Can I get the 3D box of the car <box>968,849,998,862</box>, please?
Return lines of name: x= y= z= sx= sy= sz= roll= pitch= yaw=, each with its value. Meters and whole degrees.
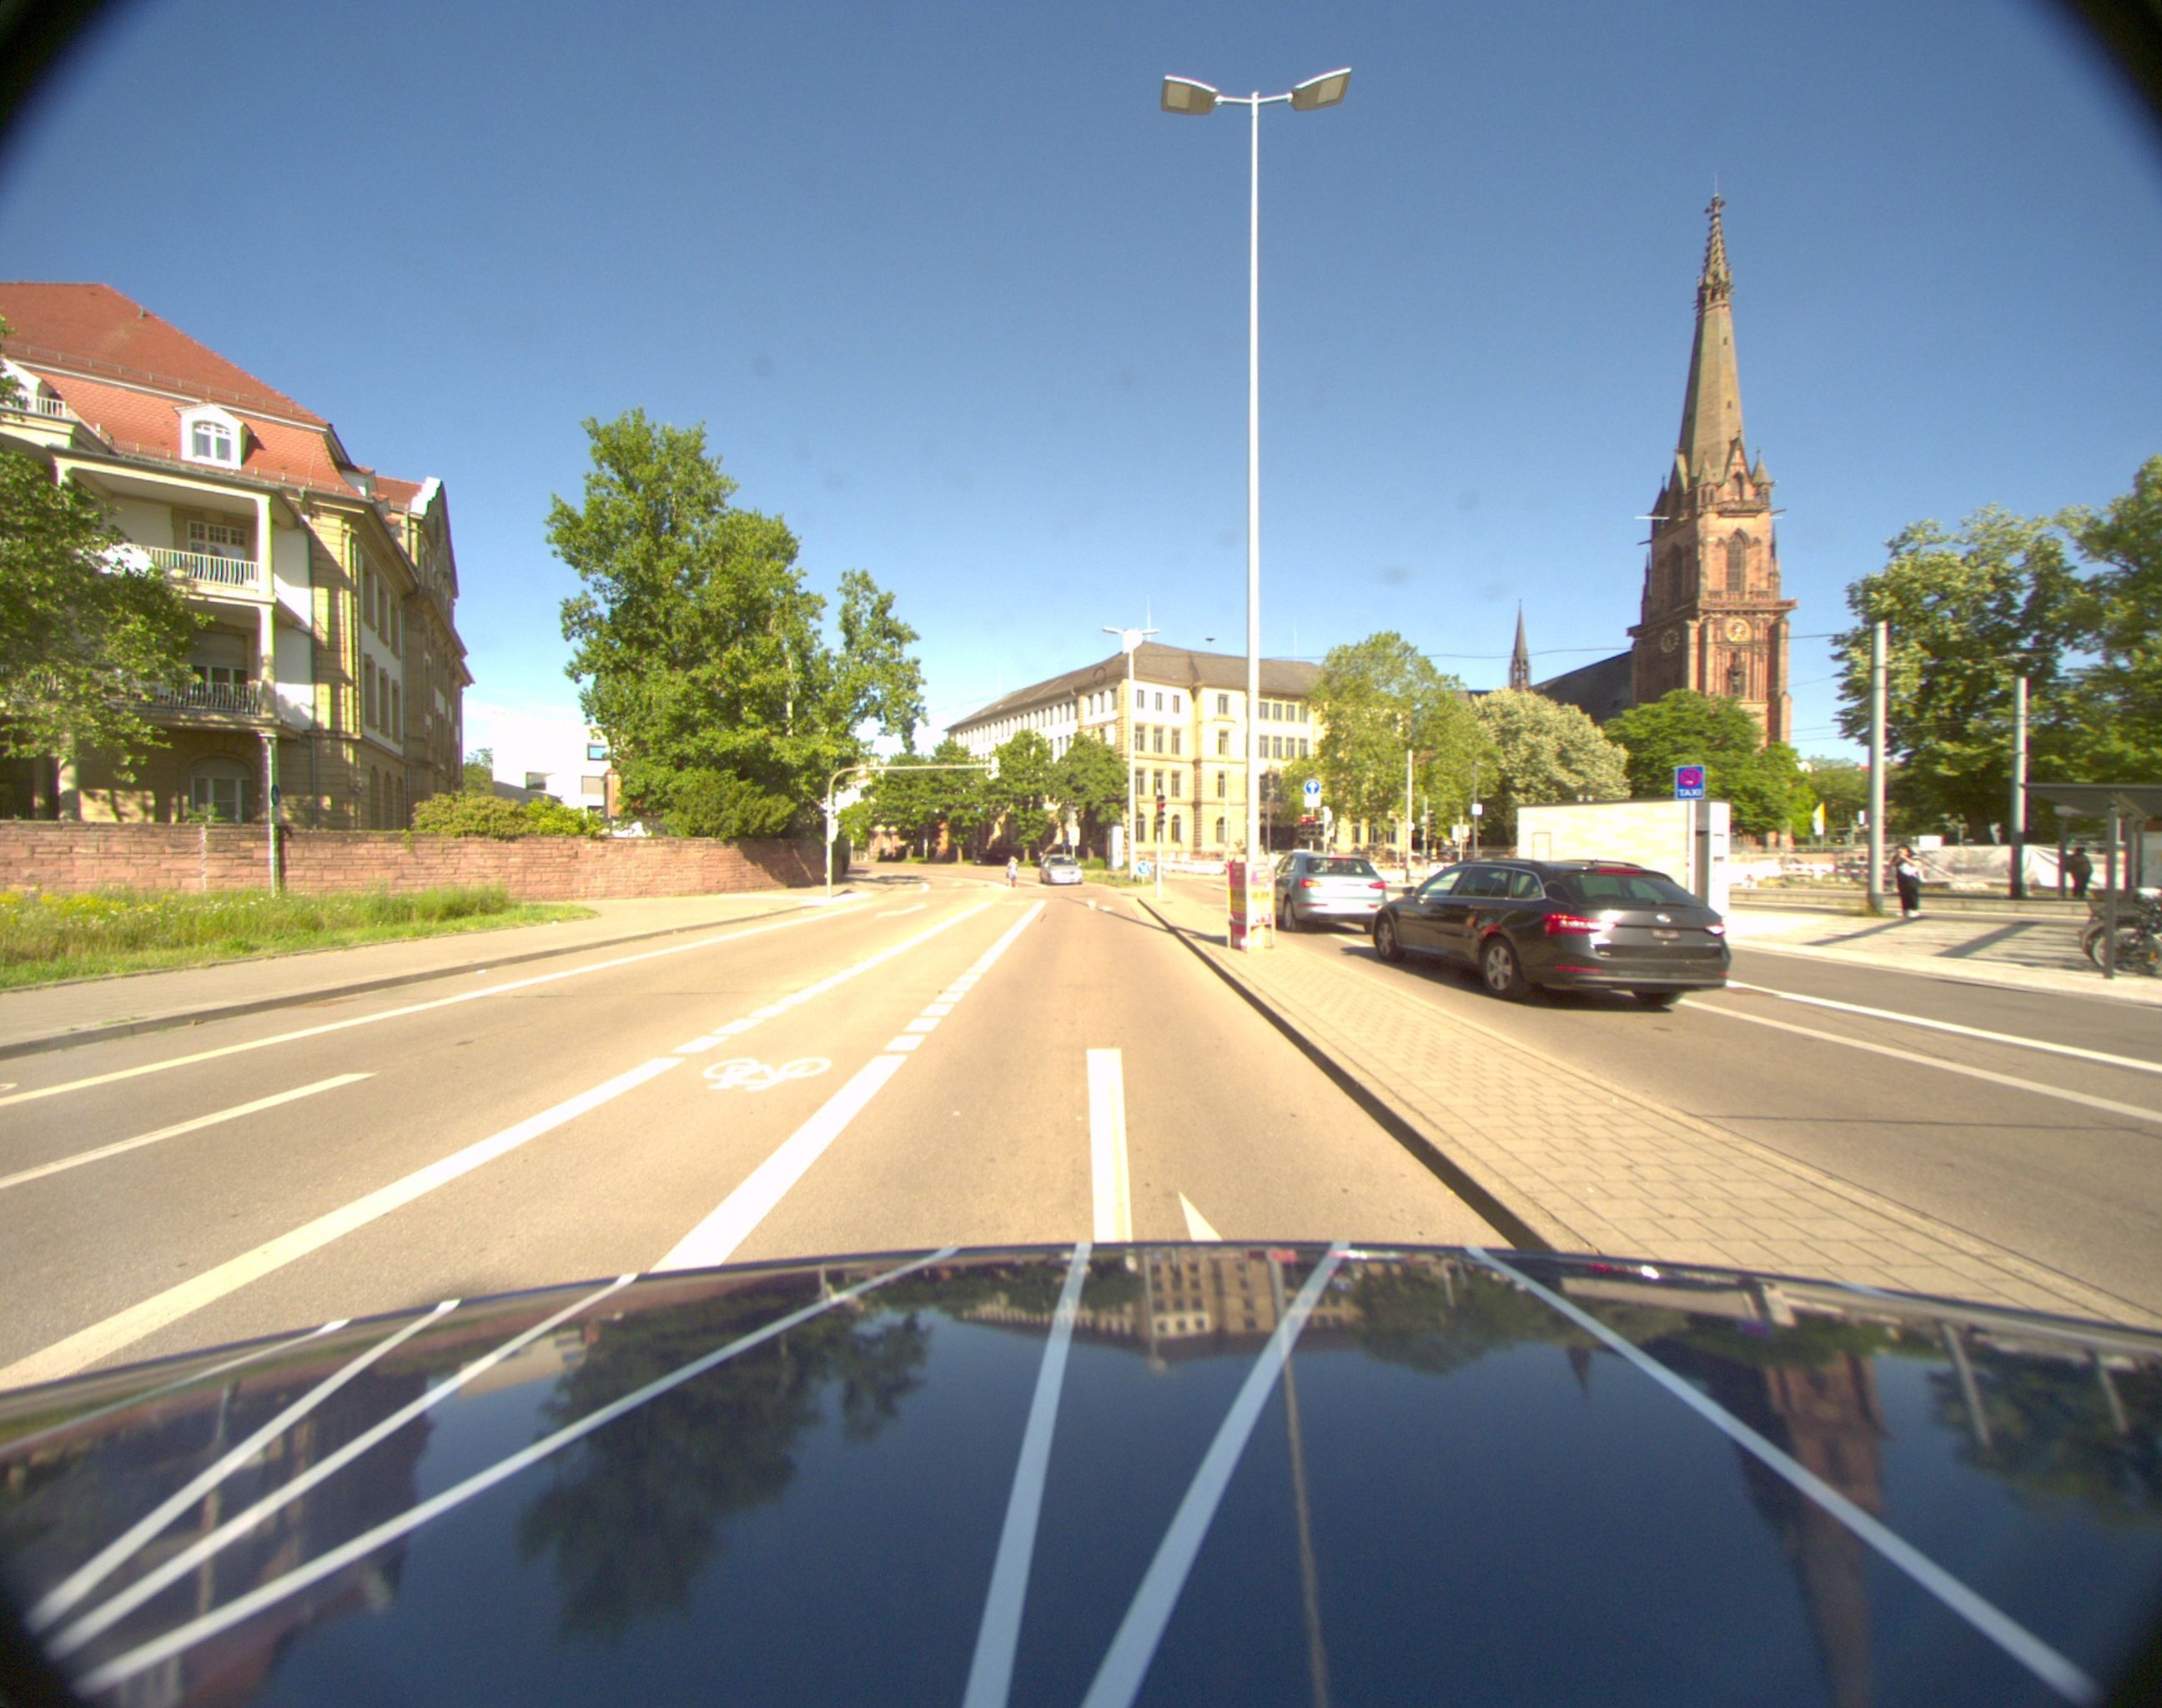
car: x=-11.725 y=0.142 z=90.596 sx=1.839 sy=1.587 sz=3.989 roll=-1 pitch=1 yaw=-37

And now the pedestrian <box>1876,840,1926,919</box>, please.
pedestrian: x=19.587 y=0.597 z=18.153 sx=0.703 sy=1.849 sz=0.619 roll=-1 pitch=1 yaw=-26

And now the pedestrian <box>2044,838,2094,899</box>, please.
pedestrian: x=30.623 y=0.447 z=23.554 sx=0.619 sy=1.849 sz=0.703 roll=0 pitch=1 yaw=11

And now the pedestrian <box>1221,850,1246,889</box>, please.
pedestrian: x=6.655 y=0.676 z=33.113 sx=0.932 sy=1.657 sz=0.630 roll=0 pitch=1 yaw=-5

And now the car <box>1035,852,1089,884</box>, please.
car: x=-1.107 y=0.718 z=41.463 sx=2.001 sy=1.580 sz=4.846 roll=-3 pitch=1 yaw=-13

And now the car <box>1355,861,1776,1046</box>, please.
car: x=5.064 y=0.883 z=8.973 sx=1.818 sy=1.496 sz=4.783 roll=2 pitch=0 yaw=-1

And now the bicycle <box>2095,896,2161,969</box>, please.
bicycle: x=16.126 y=1.183 z=10.999 sx=0.407 sy=0.993 sz=1.678 roll=-3 pitch=3 yaw=-33

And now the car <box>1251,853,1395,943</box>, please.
car: x=4.831 y=0.792 z=15.798 sx=1.792 sy=1.572 sz=4.258 roll=1 pitch=0 yaw=3

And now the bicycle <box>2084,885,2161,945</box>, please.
bicycle: x=19.026 y=1.084 z=13.337 sx=0.407 sy=0.993 sz=1.679 roll=-3 pitch=2 yaw=-33

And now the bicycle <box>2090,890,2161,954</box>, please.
bicycle: x=17.962 y=1.138 z=12.459 sx=0.407 sy=0.993 sz=1.679 roll=-3 pitch=2 yaw=-33

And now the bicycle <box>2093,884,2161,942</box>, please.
bicycle: x=19.511 y=1.065 z=13.579 sx=0.407 sy=0.993 sz=1.679 roll=-3 pitch=2 yaw=-33

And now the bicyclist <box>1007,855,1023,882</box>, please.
bicyclist: x=-3.451 y=0.735 z=39.744 sx=0.741 sy=1.363 sz=0.626 roll=-2 pitch=1 yaw=-6

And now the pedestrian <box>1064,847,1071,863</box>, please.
pedestrian: x=-1.421 y=0.069 z=81.394 sx=0.540 sy=1.710 sz=0.545 roll=-1 pitch=1 yaw=-37

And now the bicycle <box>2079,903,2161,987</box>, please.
bicycle: x=13.983 y=1.189 z=9.551 sx=0.407 sy=0.993 sz=1.678 roll=-3 pitch=3 yaw=-33

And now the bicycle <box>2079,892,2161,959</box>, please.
bicycle: x=17.182 y=1.142 z=12.012 sx=0.407 sy=0.993 sz=1.679 roll=-3 pitch=2 yaw=-33

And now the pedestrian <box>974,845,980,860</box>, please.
pedestrian: x=-13.386 y=-0.190 z=97.793 sx=0.578 sy=1.893 sz=0.781 roll=-1 pitch=1 yaw=-36

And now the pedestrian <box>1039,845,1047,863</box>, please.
pedestrian: x=-4.355 y=-0.029 z=87.127 sx=0.557 sy=2.002 sz=0.645 roll=-1 pitch=1 yaw=-37

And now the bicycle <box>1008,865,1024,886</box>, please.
bicycle: x=-3.427 y=1.121 z=39.723 sx=0.741 sy=0.989 sz=2.305 roll=-2 pitch=1 yaw=-6

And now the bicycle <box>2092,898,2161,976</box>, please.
bicycle: x=15.028 y=1.166 z=10.208 sx=0.407 sy=0.993 sz=1.678 roll=-3 pitch=3 yaw=-33
